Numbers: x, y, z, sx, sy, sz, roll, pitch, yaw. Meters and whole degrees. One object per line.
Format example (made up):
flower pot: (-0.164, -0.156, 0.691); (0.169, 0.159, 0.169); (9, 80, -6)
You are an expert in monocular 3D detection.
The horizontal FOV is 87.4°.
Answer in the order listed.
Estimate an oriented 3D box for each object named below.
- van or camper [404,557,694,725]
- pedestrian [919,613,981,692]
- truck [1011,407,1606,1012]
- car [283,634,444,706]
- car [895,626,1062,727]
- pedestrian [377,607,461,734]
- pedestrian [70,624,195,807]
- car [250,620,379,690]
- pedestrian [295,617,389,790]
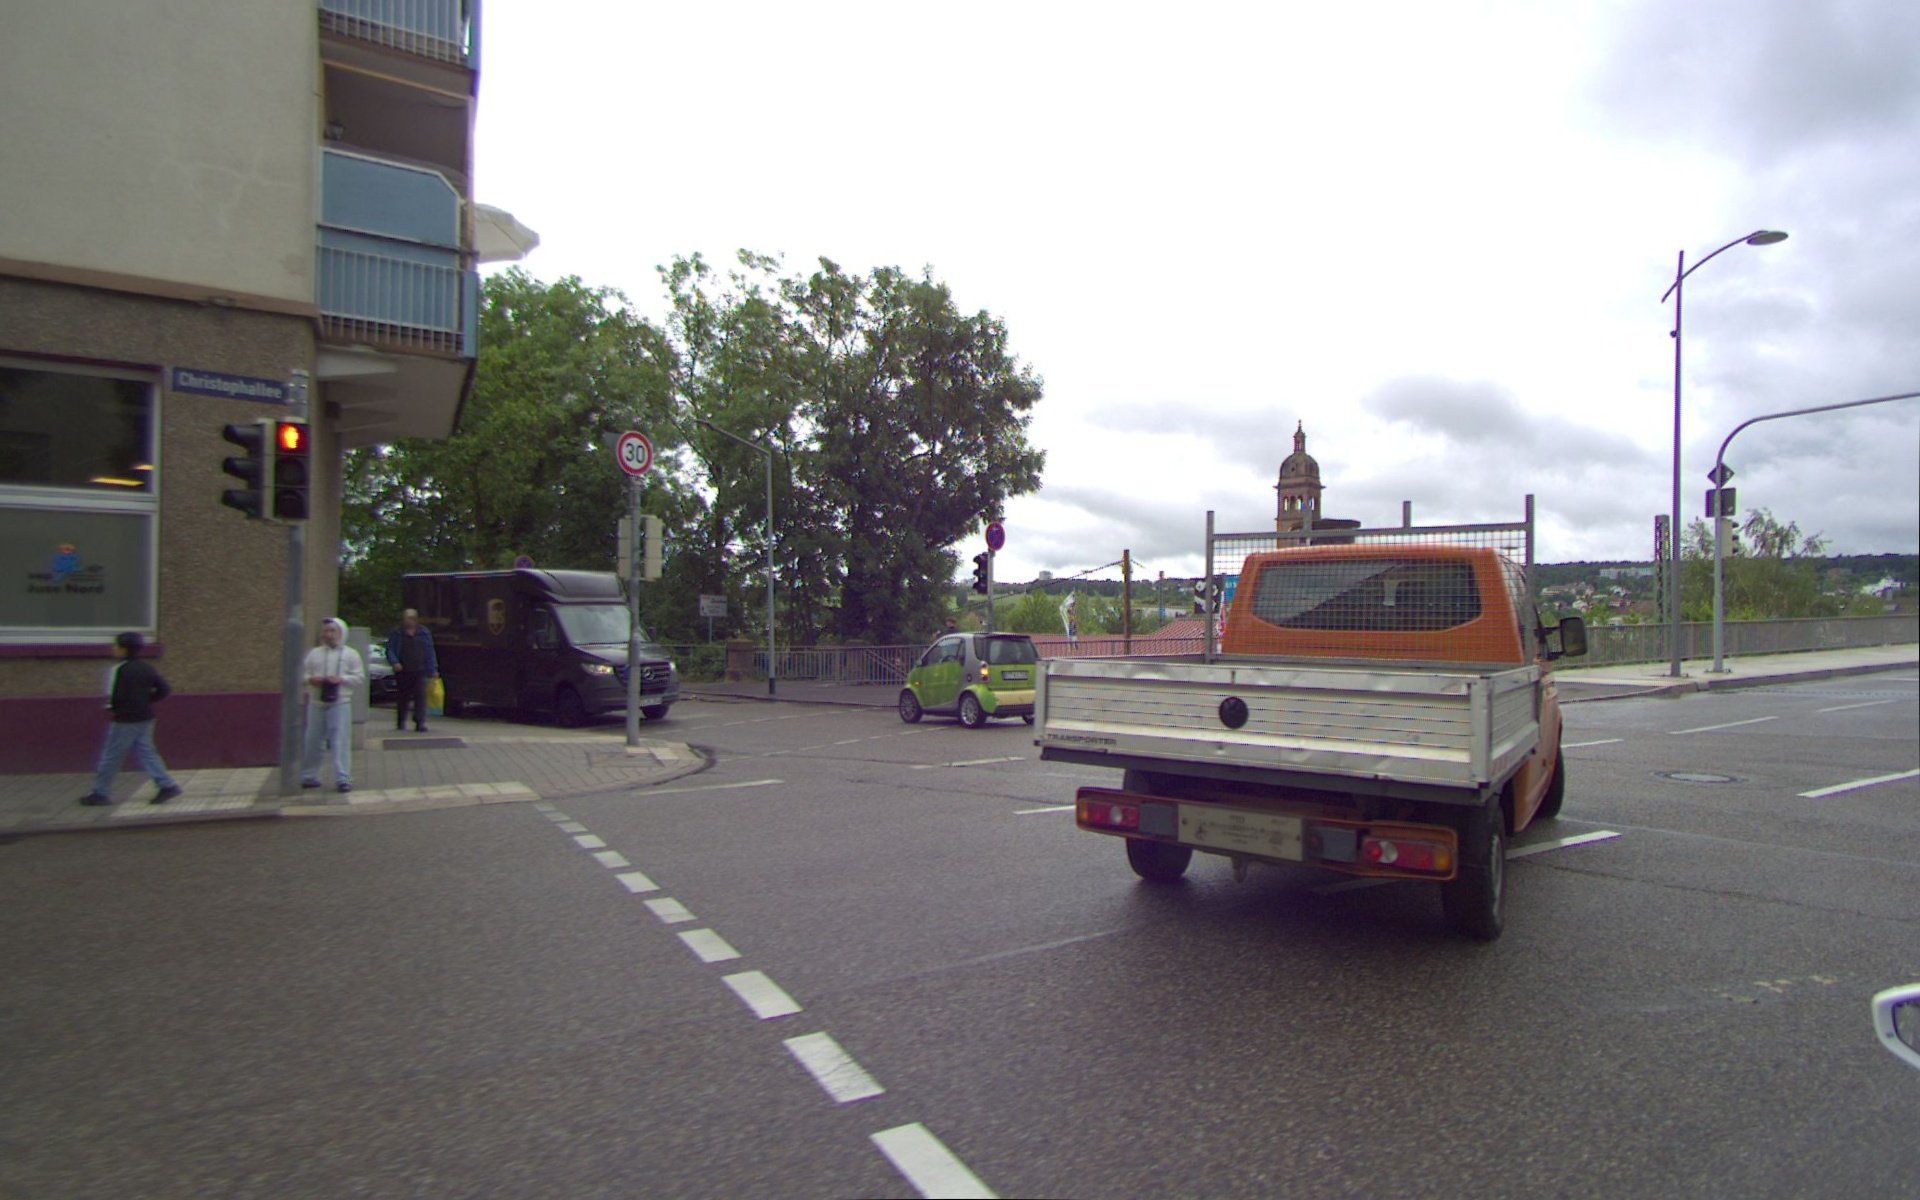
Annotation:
van or camper: (-8.030, 0.739, 19.273); (6.376, 2.766, 1.994); (0, -2, 35)
pedestrian: (-0.223, 1.209, 23.325); (1.052, 1.780, 1.062); (0, -2, 26)
truck: (2.708, 0.498, 6.467); (2.367, 2.157, 5.300); (0, -2, 34)
car: (-14.127, 1.600, 23.768); (3.640, 1.519, 1.865); (0, -2, 33)
car: (0.273, 1.250, 17.256); (1.518, 1.567, 2.636); (3, -3, -39)
pedestrian: (-7.928, 1.013, 14.745); (1.009, 1.776, 0.926); (2, -2, -28)
pedestrian: (-6.680, 0.907, 8.138); (0.641, 1.406, 0.542); (2, -2, -28)
car: (-20.114, 1.662, 31.266); (3.934, 2.040, 1.994); (0, -2, 35)
pedestrian: (-5.548, 0.906, 9.043); (0.653, 1.477, 0.639); (2, -2, -31)
